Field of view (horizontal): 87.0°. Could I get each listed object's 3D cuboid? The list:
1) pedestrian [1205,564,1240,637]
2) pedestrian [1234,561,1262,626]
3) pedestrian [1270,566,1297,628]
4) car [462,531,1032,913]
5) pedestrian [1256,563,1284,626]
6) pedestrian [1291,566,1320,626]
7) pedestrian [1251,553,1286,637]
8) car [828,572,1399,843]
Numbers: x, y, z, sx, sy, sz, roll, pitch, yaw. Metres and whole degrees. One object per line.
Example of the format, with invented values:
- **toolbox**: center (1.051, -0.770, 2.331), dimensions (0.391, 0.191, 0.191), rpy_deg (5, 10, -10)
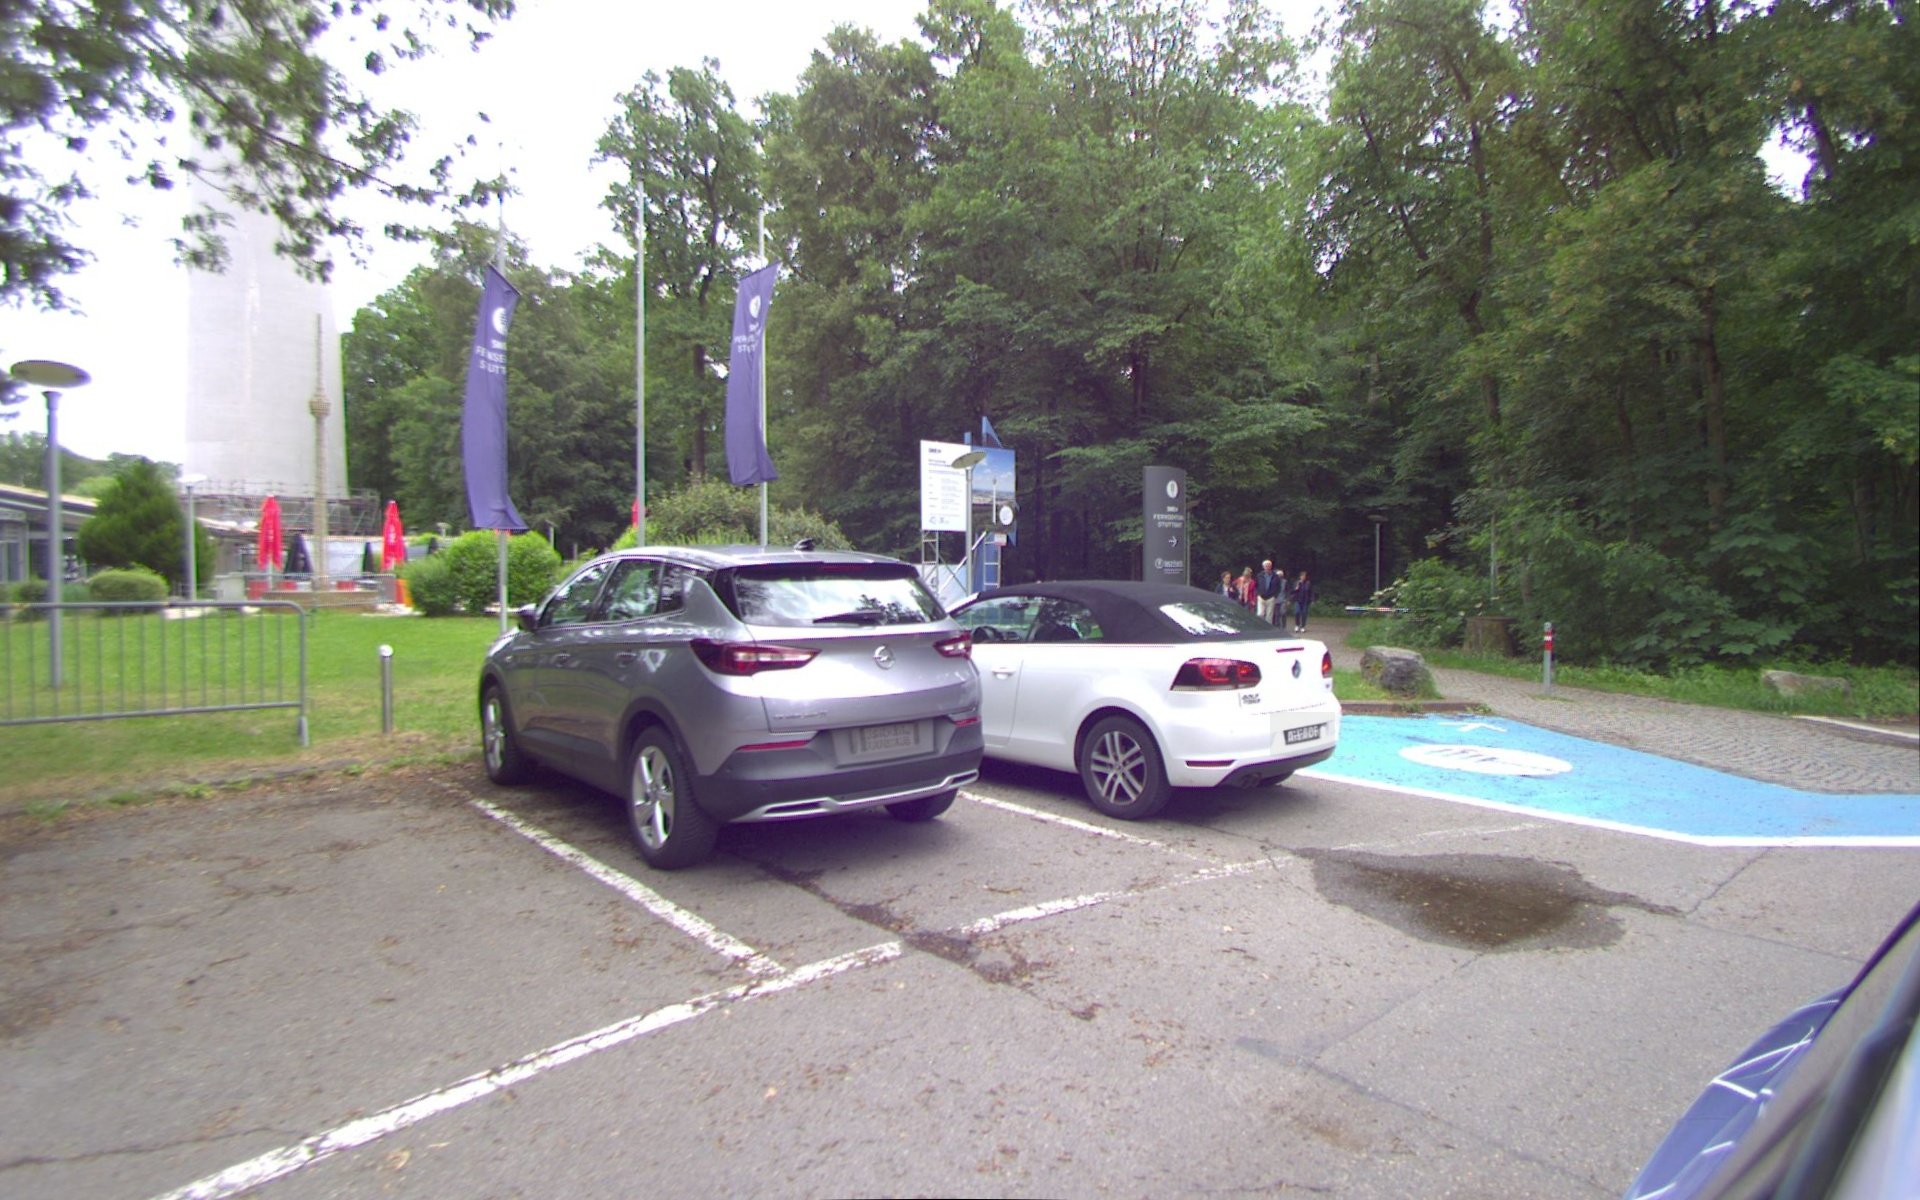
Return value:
- **pedestrian**: center (6.098, 0.000, 23.550), dimensions (0.767, 1.654, 0.634), rpy_deg (0, 1, 14)
- **pedestrian**: center (8.029, -0.192, 28.254), dimensions (0.672, 1.784, 0.604), rpy_deg (0, 1, 8)
- **pedestrian**: center (8.970, -0.097, 28.073), dimensions (0.598, 1.694, 0.604), rpy_deg (0, 1, 8)
- **car**: center (-1.603, 0.450, 6.388), dimensions (1.866, 1.604, 3.995), rpy_deg (-1, 2, -40)
- **pedestrian**: center (8.999, -0.168, 29.394), dimensions (0.670, 1.790, 0.712), rpy_deg (0, 1, 8)
- **pedestrian**: center (9.884, -0.117, 28.966), dimensions (0.670, 1.694, 0.661), rpy_deg (0, 1, 8)
- **pedestrian**: center (7.283, -0.132, 23.897), dimensions (0.723, 1.940, 0.665), rpy_deg (0, 1, 14)
- **car**: center (0.891, 0.524, 7.579), dimensions (1.866, 1.446, 3.995), rpy_deg (-1, 2, -40)
